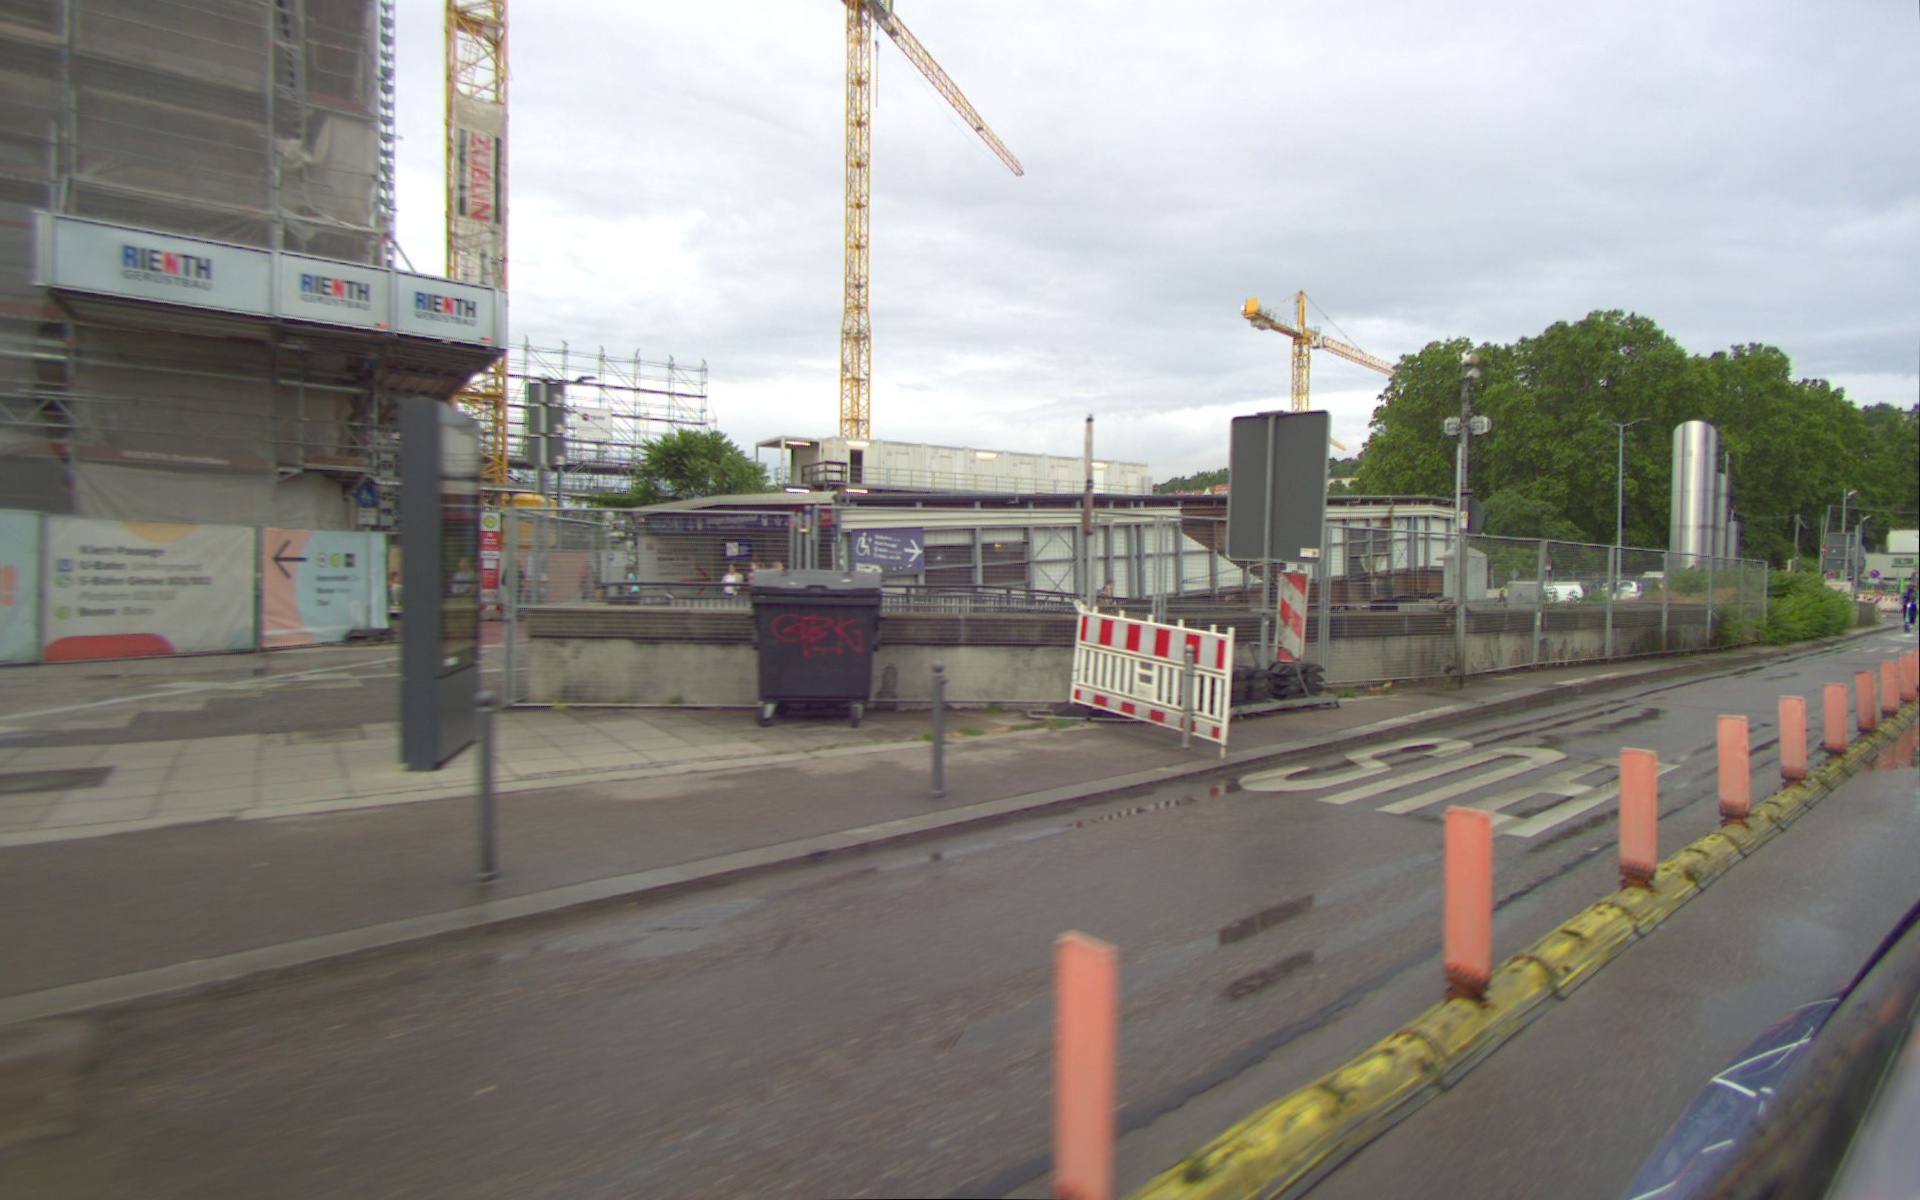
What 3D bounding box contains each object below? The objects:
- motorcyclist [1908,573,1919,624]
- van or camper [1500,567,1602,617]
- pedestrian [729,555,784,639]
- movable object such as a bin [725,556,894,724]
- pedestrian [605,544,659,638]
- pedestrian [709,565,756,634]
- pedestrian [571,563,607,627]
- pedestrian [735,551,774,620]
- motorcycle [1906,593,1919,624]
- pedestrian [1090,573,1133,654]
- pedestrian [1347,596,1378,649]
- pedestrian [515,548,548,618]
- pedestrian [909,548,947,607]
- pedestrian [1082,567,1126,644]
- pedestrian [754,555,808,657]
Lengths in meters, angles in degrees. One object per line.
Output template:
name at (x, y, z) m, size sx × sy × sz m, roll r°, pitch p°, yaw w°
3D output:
motorcyclist at (39.100, -0.057, 41.126) m, size 0.577 × 2.061 × 0.725 m, roll 1°, pitch 1°, yaw -43°
van or camper at (31.577, -0.471, 54.342) m, size 2.345 × 2.431 × 6.053 m, roll 2°, pitch 1°, yaw 7°
pedestrian at (-4.021, -0.060, 19.997) m, size 0.698 × 1.613 × 0.855 m, roll -1°, pitch 0°, yaw -44°
movable object such as a bin at (-1.447, 0.346, 9.844) m, size 1.502 × 1.510 × 1.305 m, roll 1°, pitch 2°, yaw -8°
pedestrian at (-7.302, -0.212, 22.510) m, size 0.916 × 2.038 × 0.765 m, roll 0°, pitch 2°, yaw -39°
pedestrian at (-5.604, -0.024, 24.928) m, size 0.901 × 1.666 × 0.699 m, roll 1°, pitch 2°, yaw 15°
pedestrian at (-9.001, -0.139, 24.575) m, size 0.630 × 1.525 × 0.702 m, roll 0°, pitch 2°, yaw -38°
pedestrian at (-5.763, -0.407, 28.378) m, size 0.849 × 1.899 × 0.639 m, roll 1°, pitch 2°, yaw 15°
motorcycle at (39.053, 0.355, 41.108) m, size 2.124 × 1.244 × 0.729 m, roll 1°, pitch 2°, yaw -43°
pedestrian at (3.865, 0.332, 25.808) m, size 0.753 × 2.039 × 0.778 m, roll -1°, pitch 0°, yaw -44°
pedestrian at (14.553, 0.786, 36.578) m, size 0.998 × 1.855 × 0.672 m, roll -1°, pitch 1°, yaw -43°
pedestrian at (-12.614, -0.512, 29.772) m, size 0.840 × 2.018 × 0.704 m, roll 0°, pitch 2°, yaw -28°
pedestrian at (-1.016, -0.712, 31.935) m, size 0.756 × 1.816 × 0.951 m, roll 0°, pitch 1°, yaw -39°
pedestrian at (3.873, 0.145, 27.216) m, size 0.753 × 2.039 × 0.865 m, roll -1°, pitch 0°, yaw -44°
pedestrian at (-3.669, 0.121, 20.752) m, size 0.753 × 2.039 × 0.805 m, roll -1°, pitch 0°, yaw -44°
